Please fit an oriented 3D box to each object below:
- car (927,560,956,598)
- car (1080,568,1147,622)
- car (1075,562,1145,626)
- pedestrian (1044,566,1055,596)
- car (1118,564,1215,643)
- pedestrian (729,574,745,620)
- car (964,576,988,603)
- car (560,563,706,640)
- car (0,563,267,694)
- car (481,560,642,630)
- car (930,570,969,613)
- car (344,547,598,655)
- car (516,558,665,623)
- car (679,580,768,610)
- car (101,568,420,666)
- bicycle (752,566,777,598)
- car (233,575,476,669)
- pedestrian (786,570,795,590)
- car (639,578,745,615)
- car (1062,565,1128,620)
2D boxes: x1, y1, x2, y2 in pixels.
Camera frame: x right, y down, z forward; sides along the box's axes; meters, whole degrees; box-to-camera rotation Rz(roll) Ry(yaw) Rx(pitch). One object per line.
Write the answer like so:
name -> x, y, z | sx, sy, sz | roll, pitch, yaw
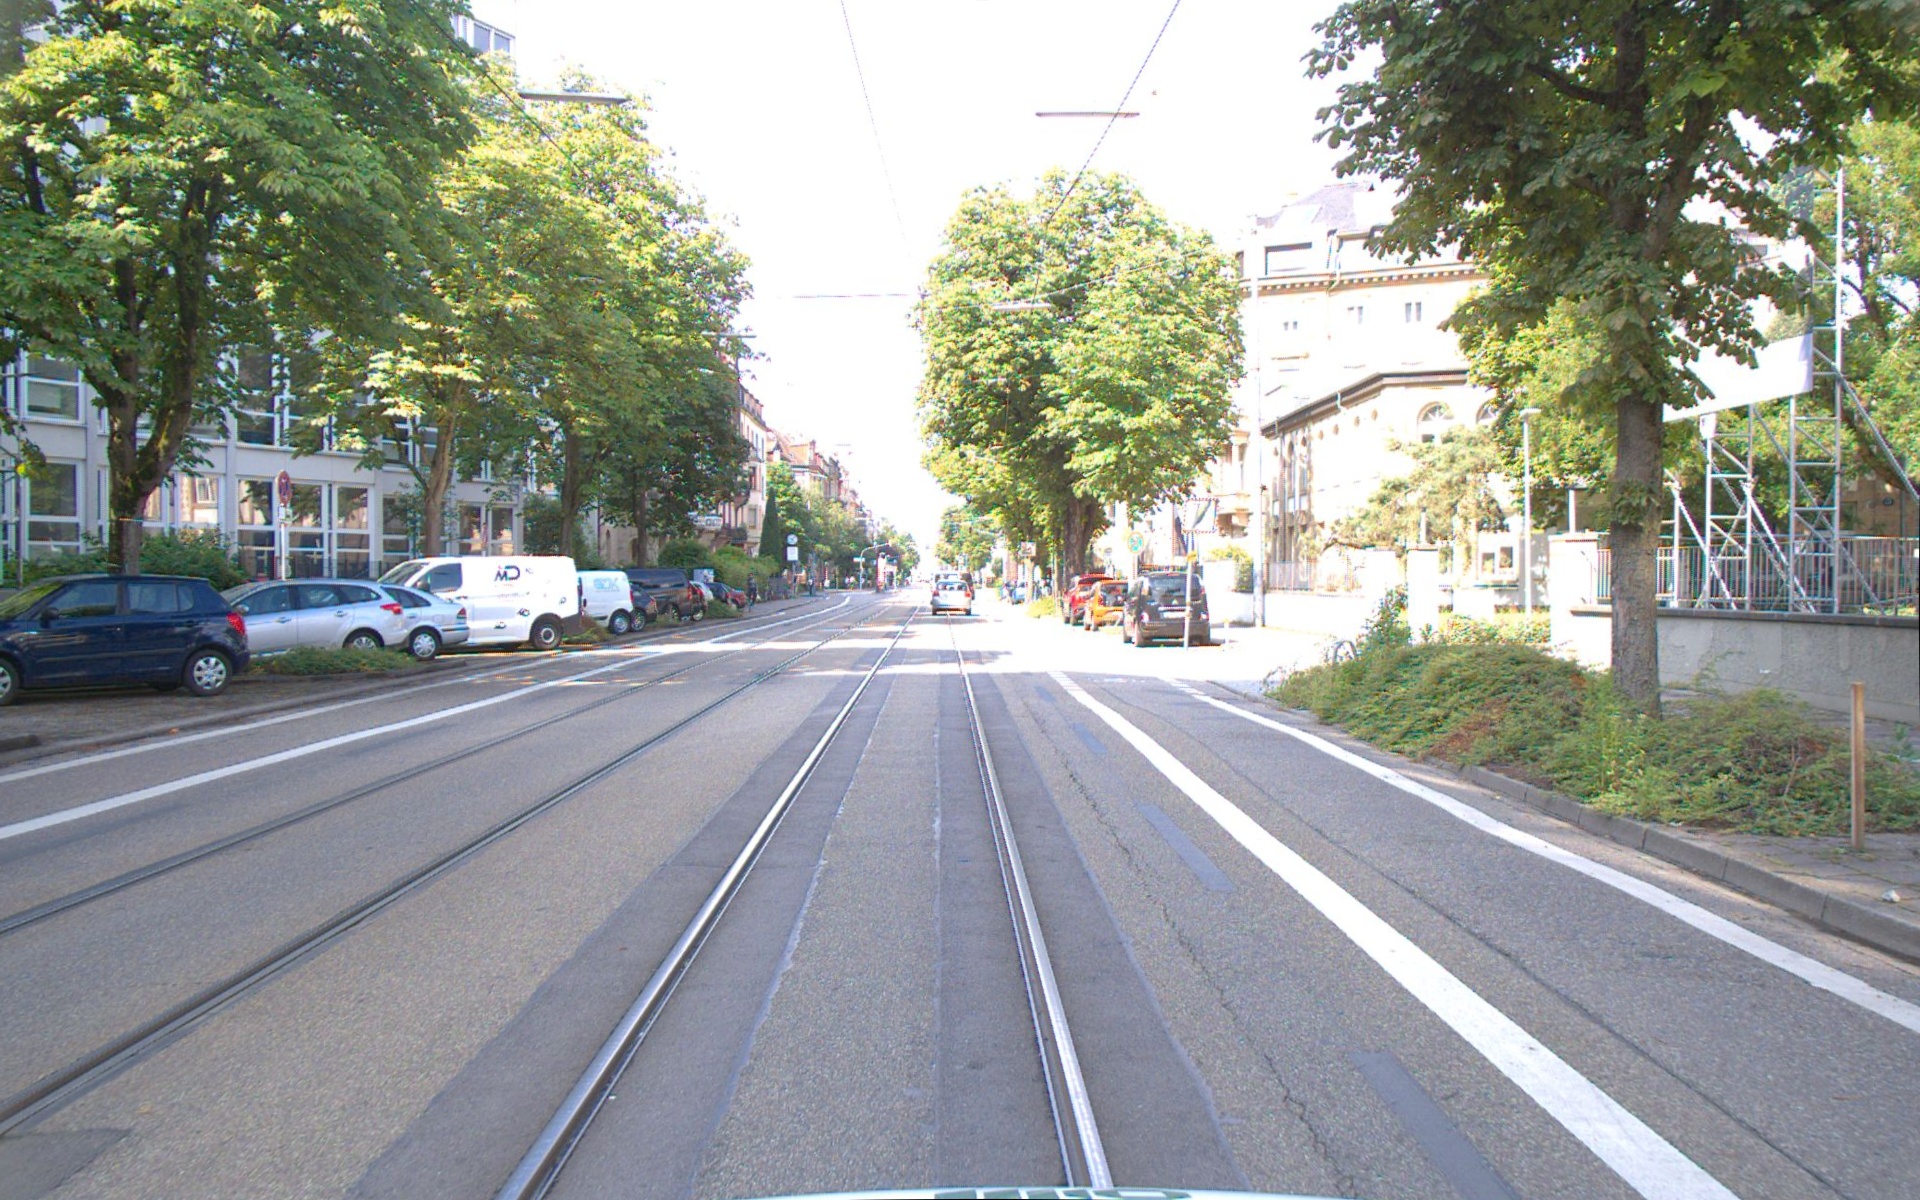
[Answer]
car -> -1.038, -1.172, 93.760 | 1.588, 2.035, 3.564 | 1, 0, -1
car -> 4.507, -0.125, 48.825 | 1.633, 1.512, 3.279 | -1, 0, -1
car -> 4.382, -0.216, 48.670 | 1.640, 1.639, 3.585 | -2, 4, -1
pedestrian -> 6.081, -1.295, 112.395 | 0.745, 2.049, 0.764 | 1, -1, 1
car -> 4.596, 0.055, 37.194 | 1.640, 1.639, 3.584 | -2, 1, -1
pedestrian -> -9.997, -0.145, 74.124 | 0.603, 2.049, 0.501 | 1, -1, -2
car -> 1.110, -0.722, 118.623 | 1.588, 1.881, 3.564 | 1, 0, -1
car -> -10.451, 0.070, 53.069 | 1.851, 2.117, 4.176 | 4, -1, 43
car -> -10.792, 0.329, 20.157 | 3.968, 1.488, 1.732 | 1, 0, -44
car -> -10.521, -0.108, 43.783 | 1.851, 1.742, 3.734 | 1, 0, 43
car -> -0.449, -0.342, 69.356 | 1.588, 1.713, 3.564 | 1, 0, -1
car -> -9.992, -0.027, 34.033 | 4.605, 1.945, 1.902 | -4, 2, -43
car -> -10.481, -0.250, 47.085 | 1.851, 1.742, 3.734 | 1, 0, 43
car -> -10.882, -0.223, 76.206 | 3.750, 1.329, 1.615 | 2, -1, -40
car -> -11.130, 0.283, 26.562 | 1.709, 1.451, 4.434 | 0, -1, 42
bicycle -> -11.359, -1.024, 96.155 | 0.919, 1.777, 2.285 | 1, 0, 5
car -> -10.922, 0.363, 29.975 | 3.755, 1.501, 1.698 | -3, 1, -44
pedestrian -> -17.416, -2.027, 169.969 | 0.868, 2.049, 0.786 | 1, -1, -10
car -> -10.323, -0.122, 63.792 | 3.750, 1.329, 1.615 | 2, -1, -40
car -> 4.513, -0.243, 55.864 | 1.919, 1.736, 4.000 | 1, 0, 1
